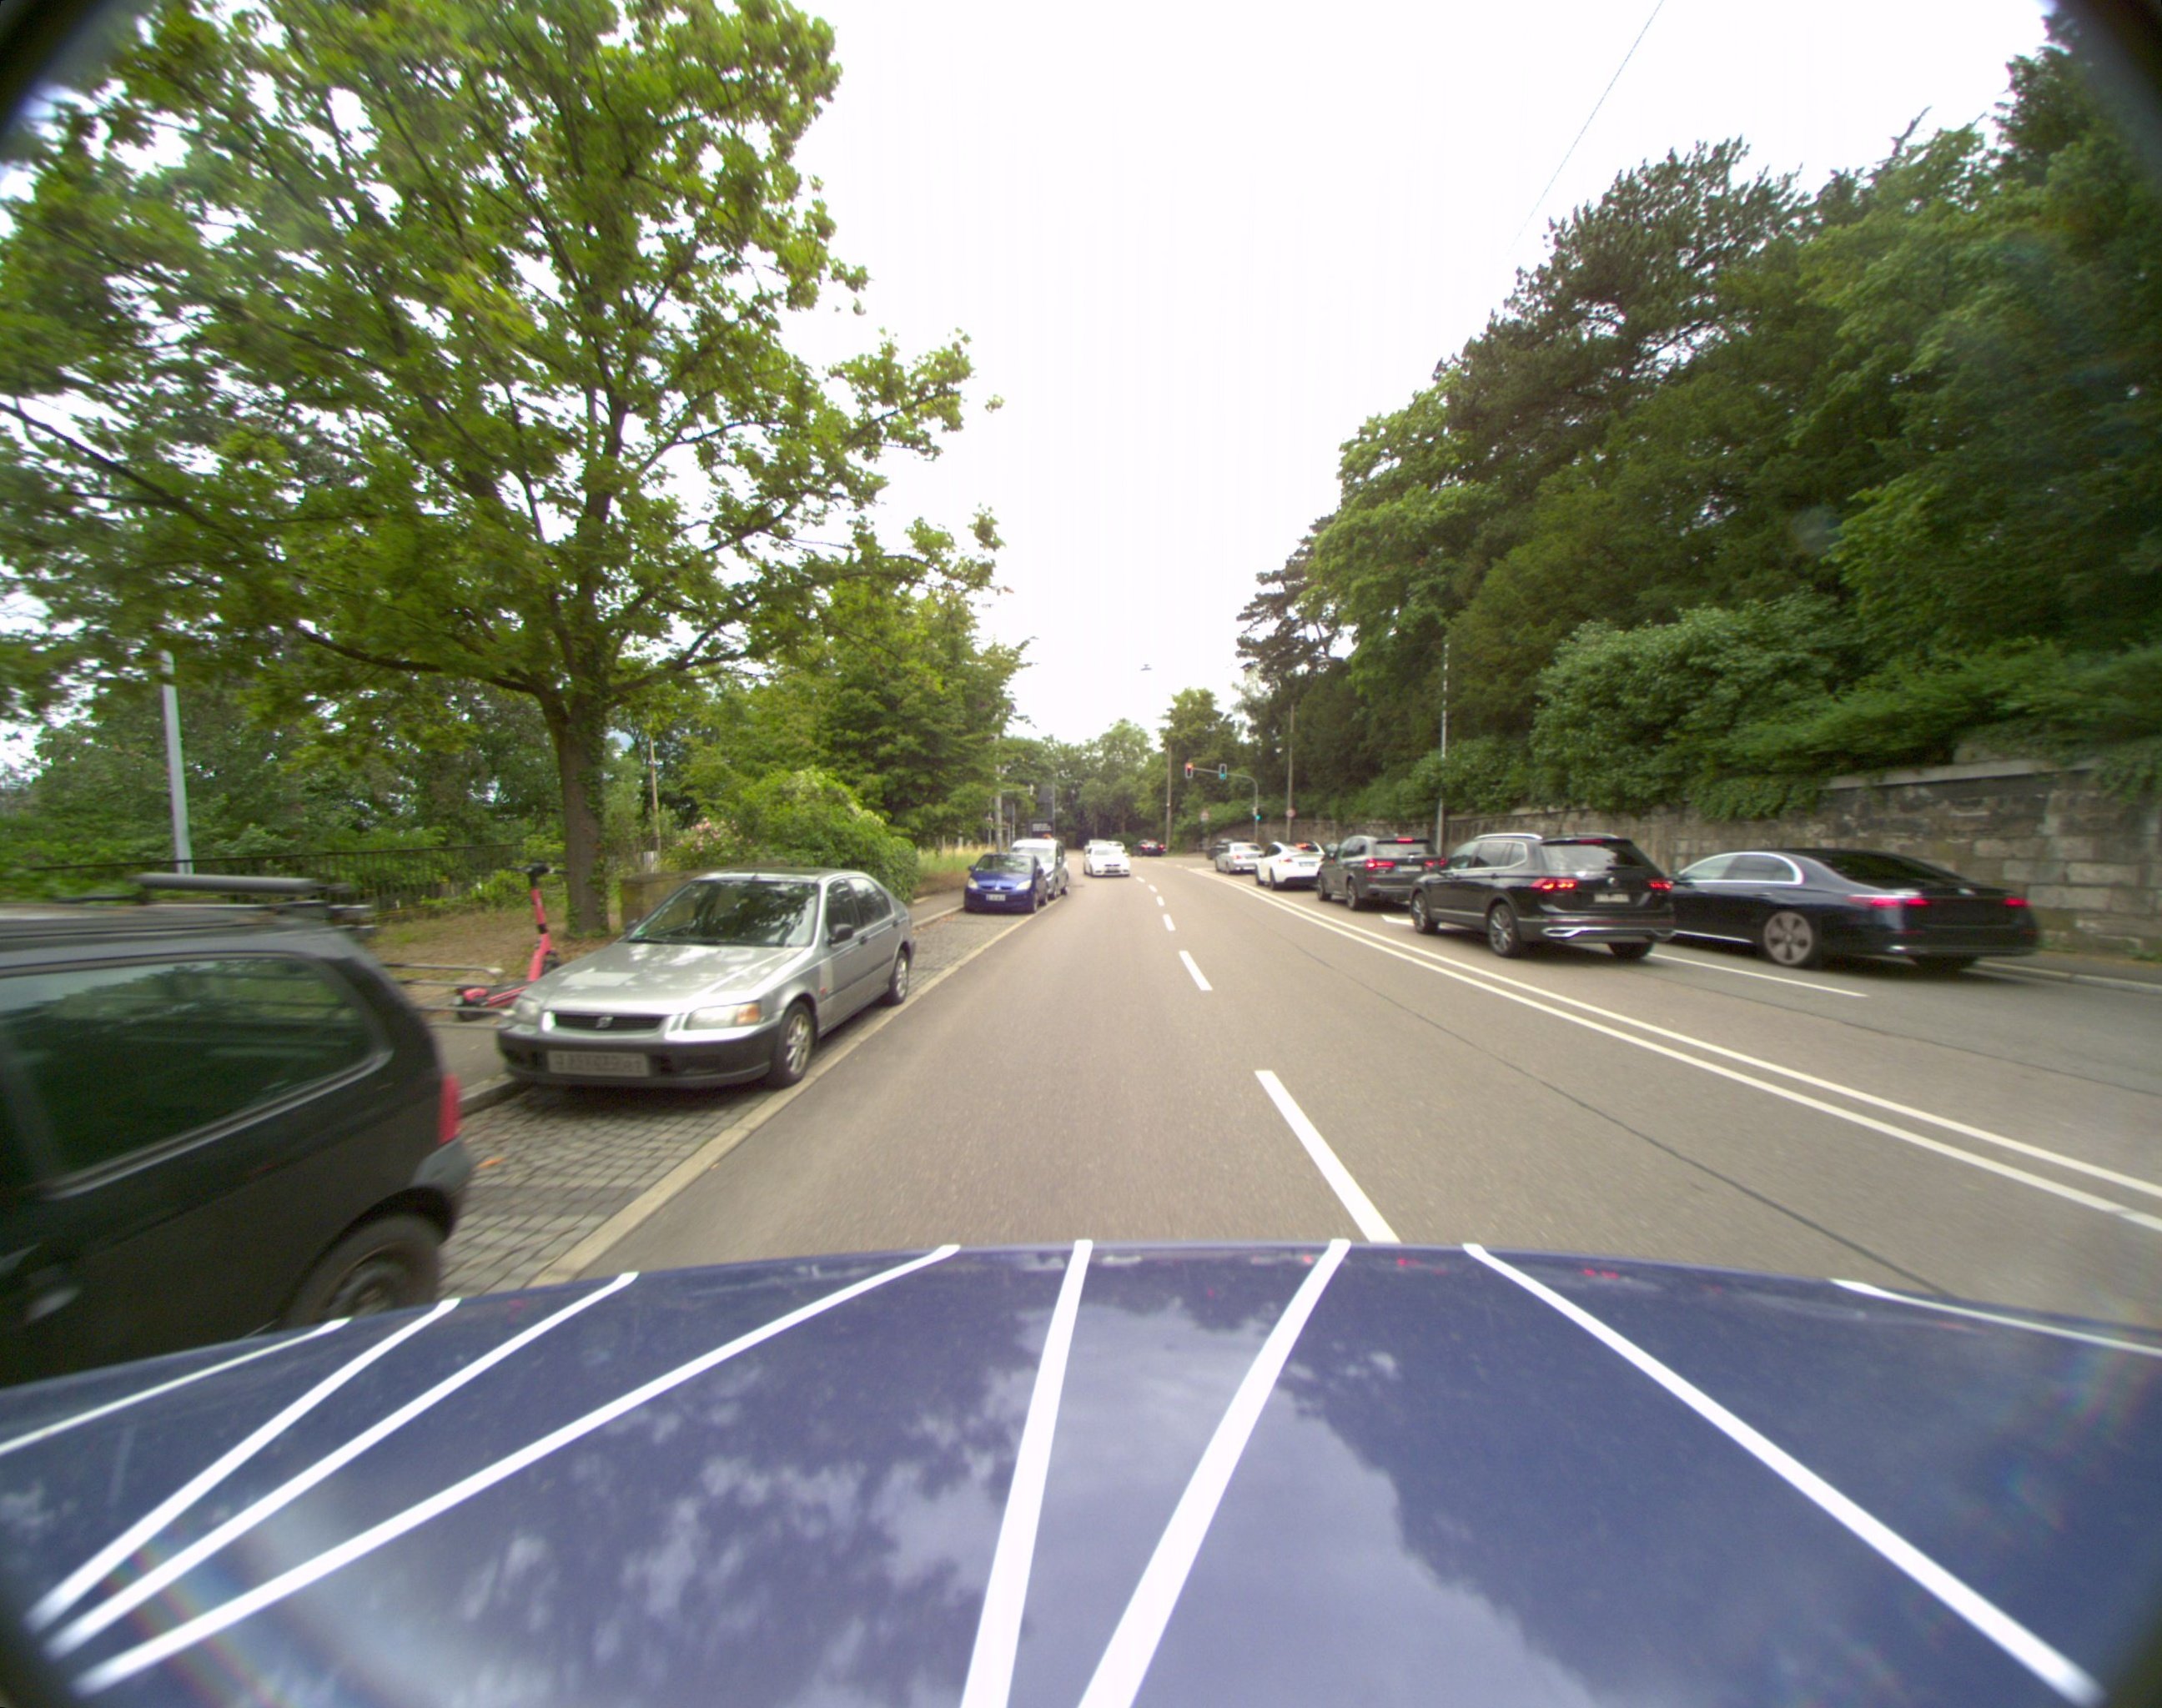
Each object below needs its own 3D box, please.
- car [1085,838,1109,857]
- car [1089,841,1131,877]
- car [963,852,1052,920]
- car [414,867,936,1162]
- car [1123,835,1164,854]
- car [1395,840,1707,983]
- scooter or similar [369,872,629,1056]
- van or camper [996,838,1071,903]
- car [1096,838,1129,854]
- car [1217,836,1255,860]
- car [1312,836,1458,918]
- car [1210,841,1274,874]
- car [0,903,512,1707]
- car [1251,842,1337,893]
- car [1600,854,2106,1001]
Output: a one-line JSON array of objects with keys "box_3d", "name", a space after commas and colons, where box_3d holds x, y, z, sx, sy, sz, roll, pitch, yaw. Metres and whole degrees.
[{"box_3d": [1.265, -0.533, 59.705, 1.803, 1.383, 3.526, 0, 3, 2], "name": "car"}, {"box_3d": [1.466, 0.193, 37.795, 1.822, 1.463, 4.783, -5, 2, 3], "name": "car"}, {"box_3d": [-1.761, 0.727, 19.266, 1.601, 1.451, 3.942, 1, 1, 4], "name": "car"}, {"box_3d": [-2.631, 0.905, 6.367, 1.774, 1.391, 4.551, 1, 1, 2], "name": "car"}, {"box_3d": [5.258, -0.806, 64.017, 1.740, 1.444, 4.041, -2, 2, -23], "name": "car"}, {"box_3d": [6.438, 0.625, 11.197, 1.852, 1.642, 4.624, 1, 1, 3], "name": "car"}, {"box_3d": [-4.902, 0.836, 6.612, 0.562, 1.237, 2.000, 5, 2, 4], "name": "scooter or similar"}, {"box_3d": [-1.404, 0.443, 23.937, 1.702, 1.835, 4.243, 0, 2, 5], "name": "van or camper"}, {"box_3d": [3.671, -0.918, 88.200, 1.954, 1.761, 4.008, 0, 1, 37], "name": "car"}, {"box_3d": [9.886, -0.418, 48.725, 1.635, 1.426, 3.957, -2, 1, 0], "name": "car"}, {"box_3d": [7.206, 0.440, 18.638, 1.964, 1.740, 4.879, 0, 1, 5], "name": "car"}, {"box_3d": [7.718, 0.117, 36.825, 1.999, 1.461, 4.876, 0, 1, -1], "name": "car"}, {"box_3d": [-2.740, 0.931, 0.872, 1.565, 1.414, 3.423, 2, 1, 0], "name": "car"}, {"box_3d": [7.201, 0.396, 26.161, 1.841, 1.545, 4.788, -1, 1, 3], "name": "car"}, {"box_3d": [9.479, 0.754, 10.128, 2.007, 1.401, 4.755, 0, 1, 2], "name": "car"}]
